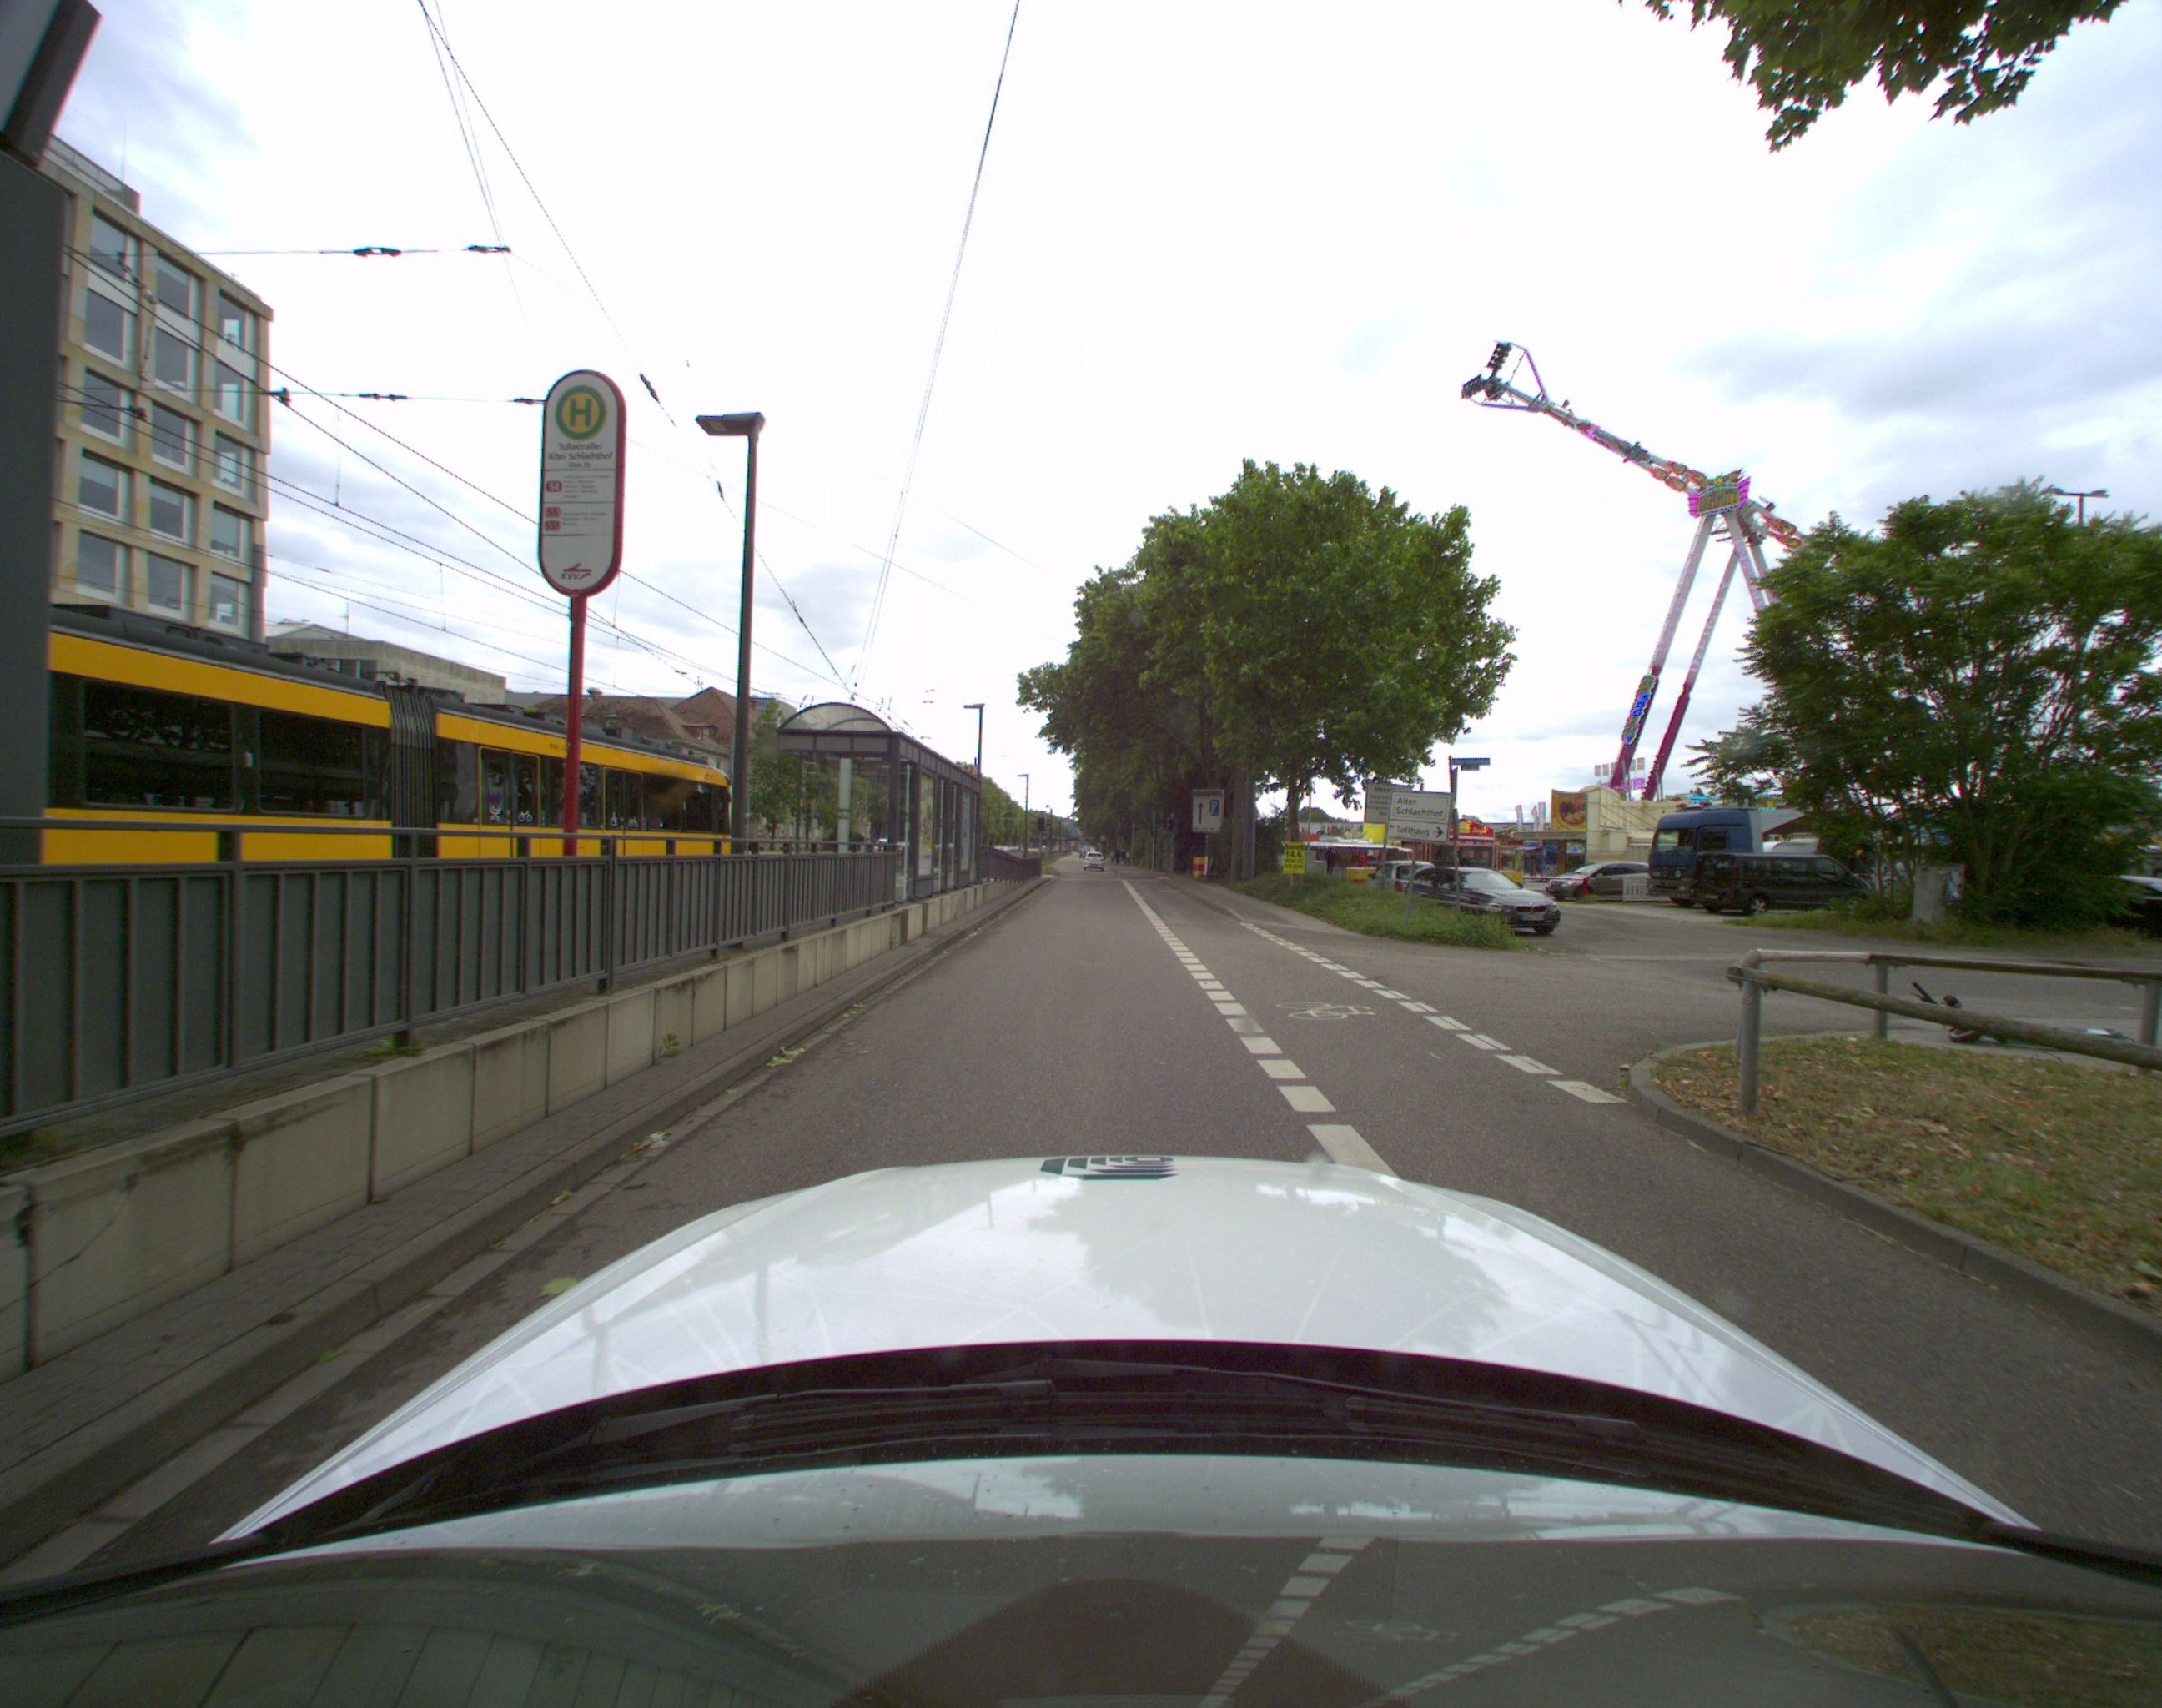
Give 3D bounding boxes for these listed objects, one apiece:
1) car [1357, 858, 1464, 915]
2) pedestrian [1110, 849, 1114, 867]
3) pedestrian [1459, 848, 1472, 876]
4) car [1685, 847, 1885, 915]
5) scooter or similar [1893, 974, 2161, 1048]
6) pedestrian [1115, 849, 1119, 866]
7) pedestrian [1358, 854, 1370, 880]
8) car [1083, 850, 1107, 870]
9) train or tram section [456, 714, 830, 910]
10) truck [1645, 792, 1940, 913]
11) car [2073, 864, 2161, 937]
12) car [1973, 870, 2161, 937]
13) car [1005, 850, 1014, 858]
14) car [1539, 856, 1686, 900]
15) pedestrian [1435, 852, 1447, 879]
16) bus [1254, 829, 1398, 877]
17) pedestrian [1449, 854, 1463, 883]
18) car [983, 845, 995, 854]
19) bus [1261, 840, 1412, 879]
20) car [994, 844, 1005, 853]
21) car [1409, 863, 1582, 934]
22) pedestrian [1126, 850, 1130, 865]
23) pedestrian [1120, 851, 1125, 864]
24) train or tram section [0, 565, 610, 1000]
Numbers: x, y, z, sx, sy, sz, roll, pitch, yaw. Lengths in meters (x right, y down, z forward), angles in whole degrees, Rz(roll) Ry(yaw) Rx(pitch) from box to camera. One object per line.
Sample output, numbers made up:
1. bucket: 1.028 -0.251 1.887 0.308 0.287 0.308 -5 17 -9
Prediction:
1. car: 10.138 0.949 25.357 1.855 1.594 4.003 1 0 3
2. pedestrian: 3.642 0.457 95.446 0.393 2.014 0.404 1 -1 16
3. pedestrian: 23.021 0.464 48.766 0.523 1.687 0.491 2 -1 -16
4. car: 21.881 0.812 25.445 4.560 2.013 1.999 0 1 -1
5. scooter or similar: 8.576 1.407 7.497 1.166 0.349 1.338 0 0 25
6. pedestrian: 4.193 0.426 95.324 0.393 2.014 0.404 1 -1 16
7. pedestrian: 16.118 0.714 46.386 0.491 1.463 0.523 1 -1 -2
8. car: 1.156 0.451 65.986 1.834 1.552 4.002 1 0 2
9. train or tram section: -11.738 -0.881 24.956 3.169 4.179 14.735 1 0 1
10. truck: 24.684 -0.038 28.505 8.166 3.822 2.599 1 0 -1
11. car: 26.144 1.155 18.657 1.880 1.644 3.998 2 2 -1
12. car: 23.748 1.137 18.789 1.880 1.349 3.998 4 0 -1
13. car: -16.263 -0.043 185.078 1.989 1.794 3.995 1 0 -3
14. car: 20.953 0.910 32.215 4.560 1.575 1.999 1 0 -1
15. pedestrian: 22.595 0.738 51.131 0.491 1.687 0.523 1 -1 -2
16. bus: 16.751 -0.054 55.901 9.253 2.960 1.998 1 0 -2
17. pedestrian: 22.248 0.873 48.309 0.523 1.687 0.491 2 -1 -16
18. car: -18.174 -0.891 161.093 1.989 1.794 3.995 1 0 -3
19. bus: 16.493 0.354 52.783 9.253 2.227 1.998 1 0 -2
20. car: -16.756 -1.124 167.280 1.989 1.794 3.995 1 0 -3
21. car: 9.577 0.966 19.200 1.859 1.430 3.995 1 0 -4
22. pedestrian: 5.012 0.399 87.166 0.394 1.585 0.539 1 -1 6
23. pedestrian: 4.440 0.370 87.182 0.394 1.444 0.564 1 -1 5
24. train or tram section: -11.937 -0.705 10.234 3.169 4.179 14.735 1 0 1
